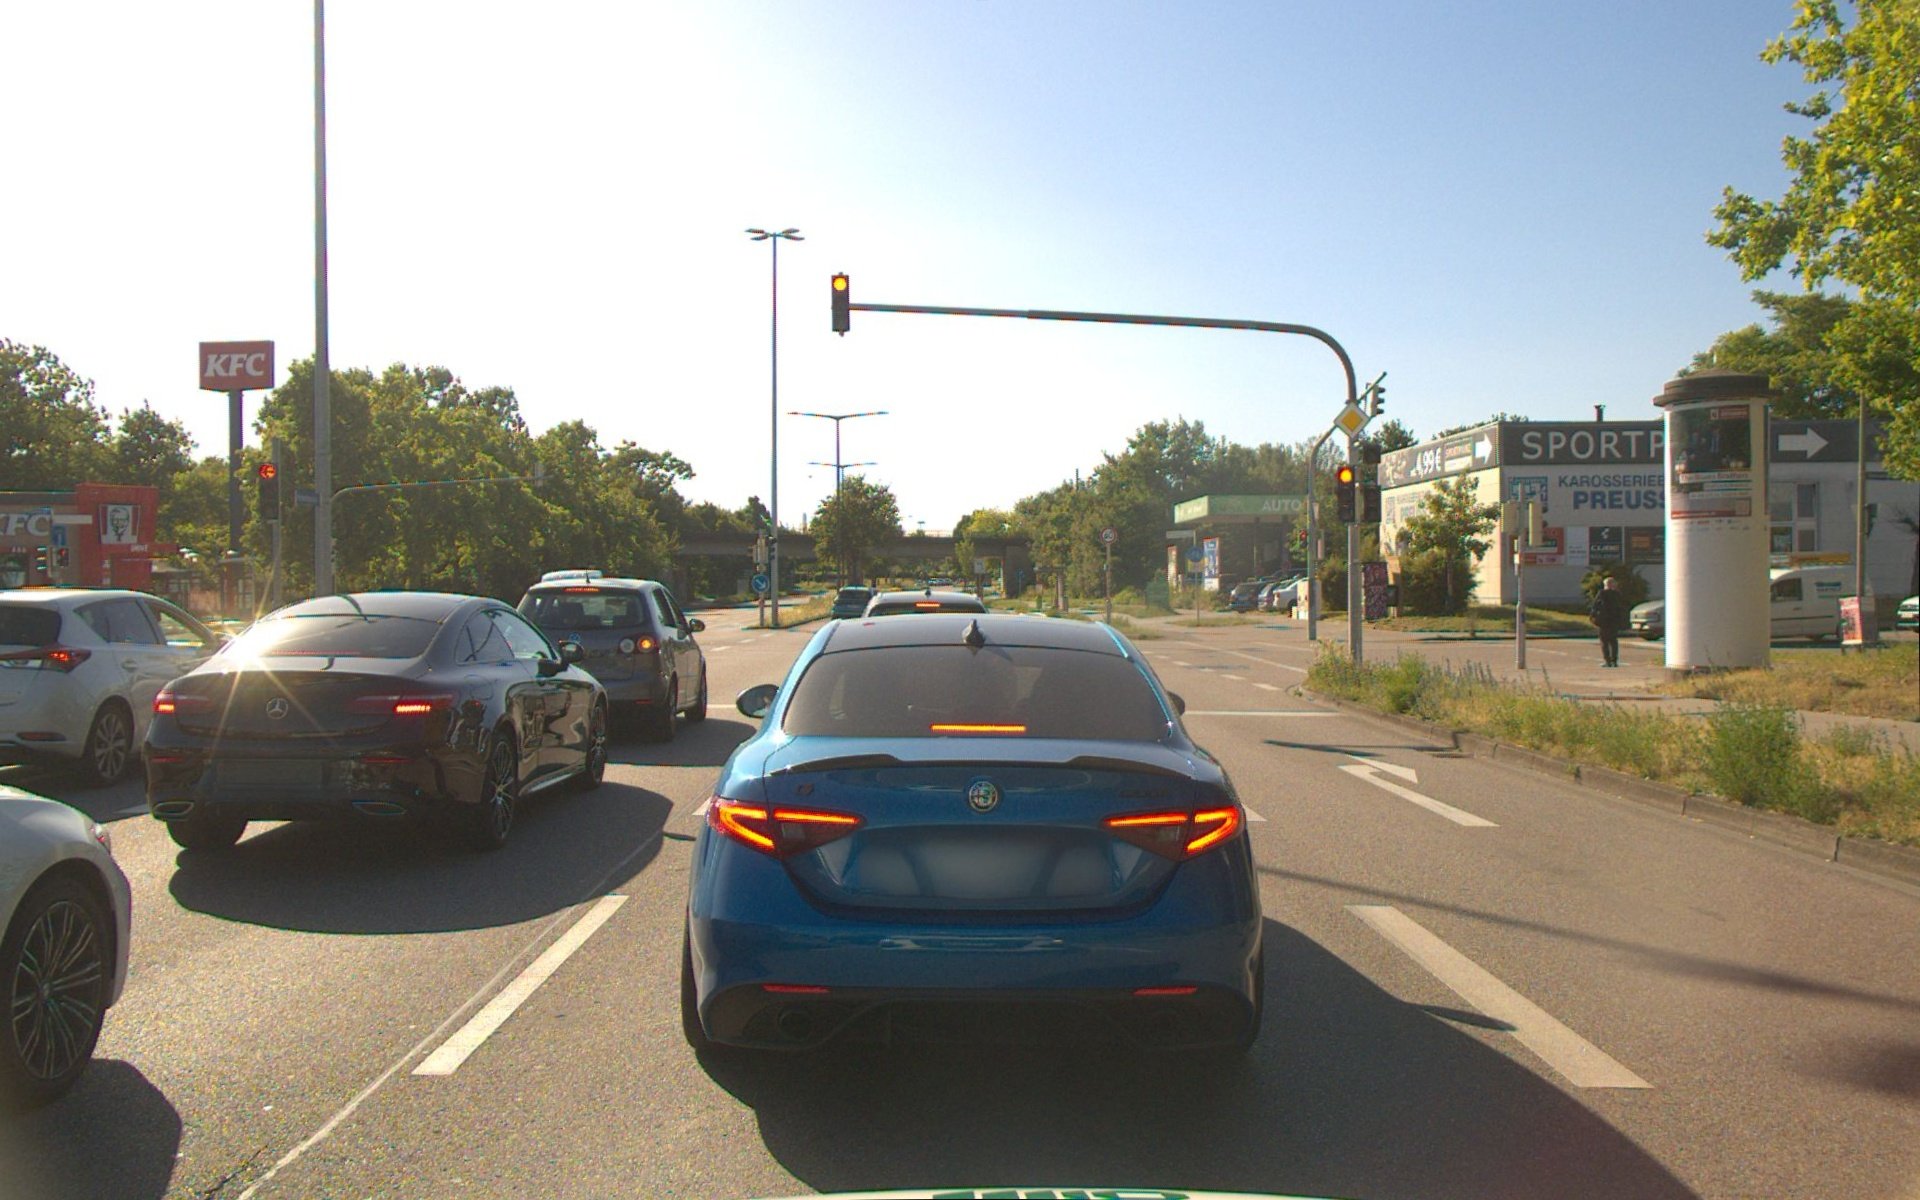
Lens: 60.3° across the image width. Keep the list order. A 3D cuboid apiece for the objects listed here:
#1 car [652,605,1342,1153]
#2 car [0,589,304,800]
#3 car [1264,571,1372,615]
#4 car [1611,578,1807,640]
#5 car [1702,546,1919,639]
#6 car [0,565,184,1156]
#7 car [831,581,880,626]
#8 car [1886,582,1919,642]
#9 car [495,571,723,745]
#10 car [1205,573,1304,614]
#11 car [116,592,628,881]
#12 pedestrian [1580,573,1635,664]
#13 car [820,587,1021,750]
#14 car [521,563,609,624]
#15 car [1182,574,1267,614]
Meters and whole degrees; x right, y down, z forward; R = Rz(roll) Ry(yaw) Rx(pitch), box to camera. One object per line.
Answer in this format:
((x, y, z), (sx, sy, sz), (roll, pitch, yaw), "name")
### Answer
((0.075, 0.751, 6.366), (1.828, 1.409, 3.931), (0, 0, -1), "car")
((-7.174, 0.642, 13.636), (1.819, 1.454, 4.403), (0, 0, -1), "car")
((14.347, -0.285, 66.324), (3.923, 1.736, 1.687), (0, 0, -17), "car")
((19.761, 0.219, 43.729), (4.318, 1.580, 1.998), (0, 0, -4), "car")
((20.605, -0.195, 40.160), (4.318, 2.183, 1.998), (0, 0, -4), "car")
((-3.346, 0.688, 3.098), (1.732, 1.535, 4.460), (0, 0, -1), "car")
((-3.891, 0.116, 61.986), (1.782, 1.622, 4.048), (0, 1, -3), "car")
((27.186, 0.306, 43.743), (4.318, 1.580, 1.998), (0, 0, -4), "car")
((-3.576, 0.528, 17.494), (1.615, 1.626, 3.931), (0, 0, -1), "car")
((12.675, -0.274, 71.154), (3.928, 1.736, 1.686), (0, 0, -20), "car")
((-3.412, 0.674, 10.571), (1.732, 1.439, 4.460), (0, 0, -1), "car")
((12.587, 0.352, 32.176), (0.805, 1.752, 0.854), (0, 0, 6), "pedestrian")
((-0.390, 0.612, 17.056), (1.828, 1.475, 3.931), (0, 0, -1), "car")
((-16.567, -0.289, 69.774), (2.382, 2.469, 5.830), (0, 1, -1), "car")
((11.880, -0.269, 74.333), (3.428, 1.736, 1.688), (0, 0, -16), "car")
